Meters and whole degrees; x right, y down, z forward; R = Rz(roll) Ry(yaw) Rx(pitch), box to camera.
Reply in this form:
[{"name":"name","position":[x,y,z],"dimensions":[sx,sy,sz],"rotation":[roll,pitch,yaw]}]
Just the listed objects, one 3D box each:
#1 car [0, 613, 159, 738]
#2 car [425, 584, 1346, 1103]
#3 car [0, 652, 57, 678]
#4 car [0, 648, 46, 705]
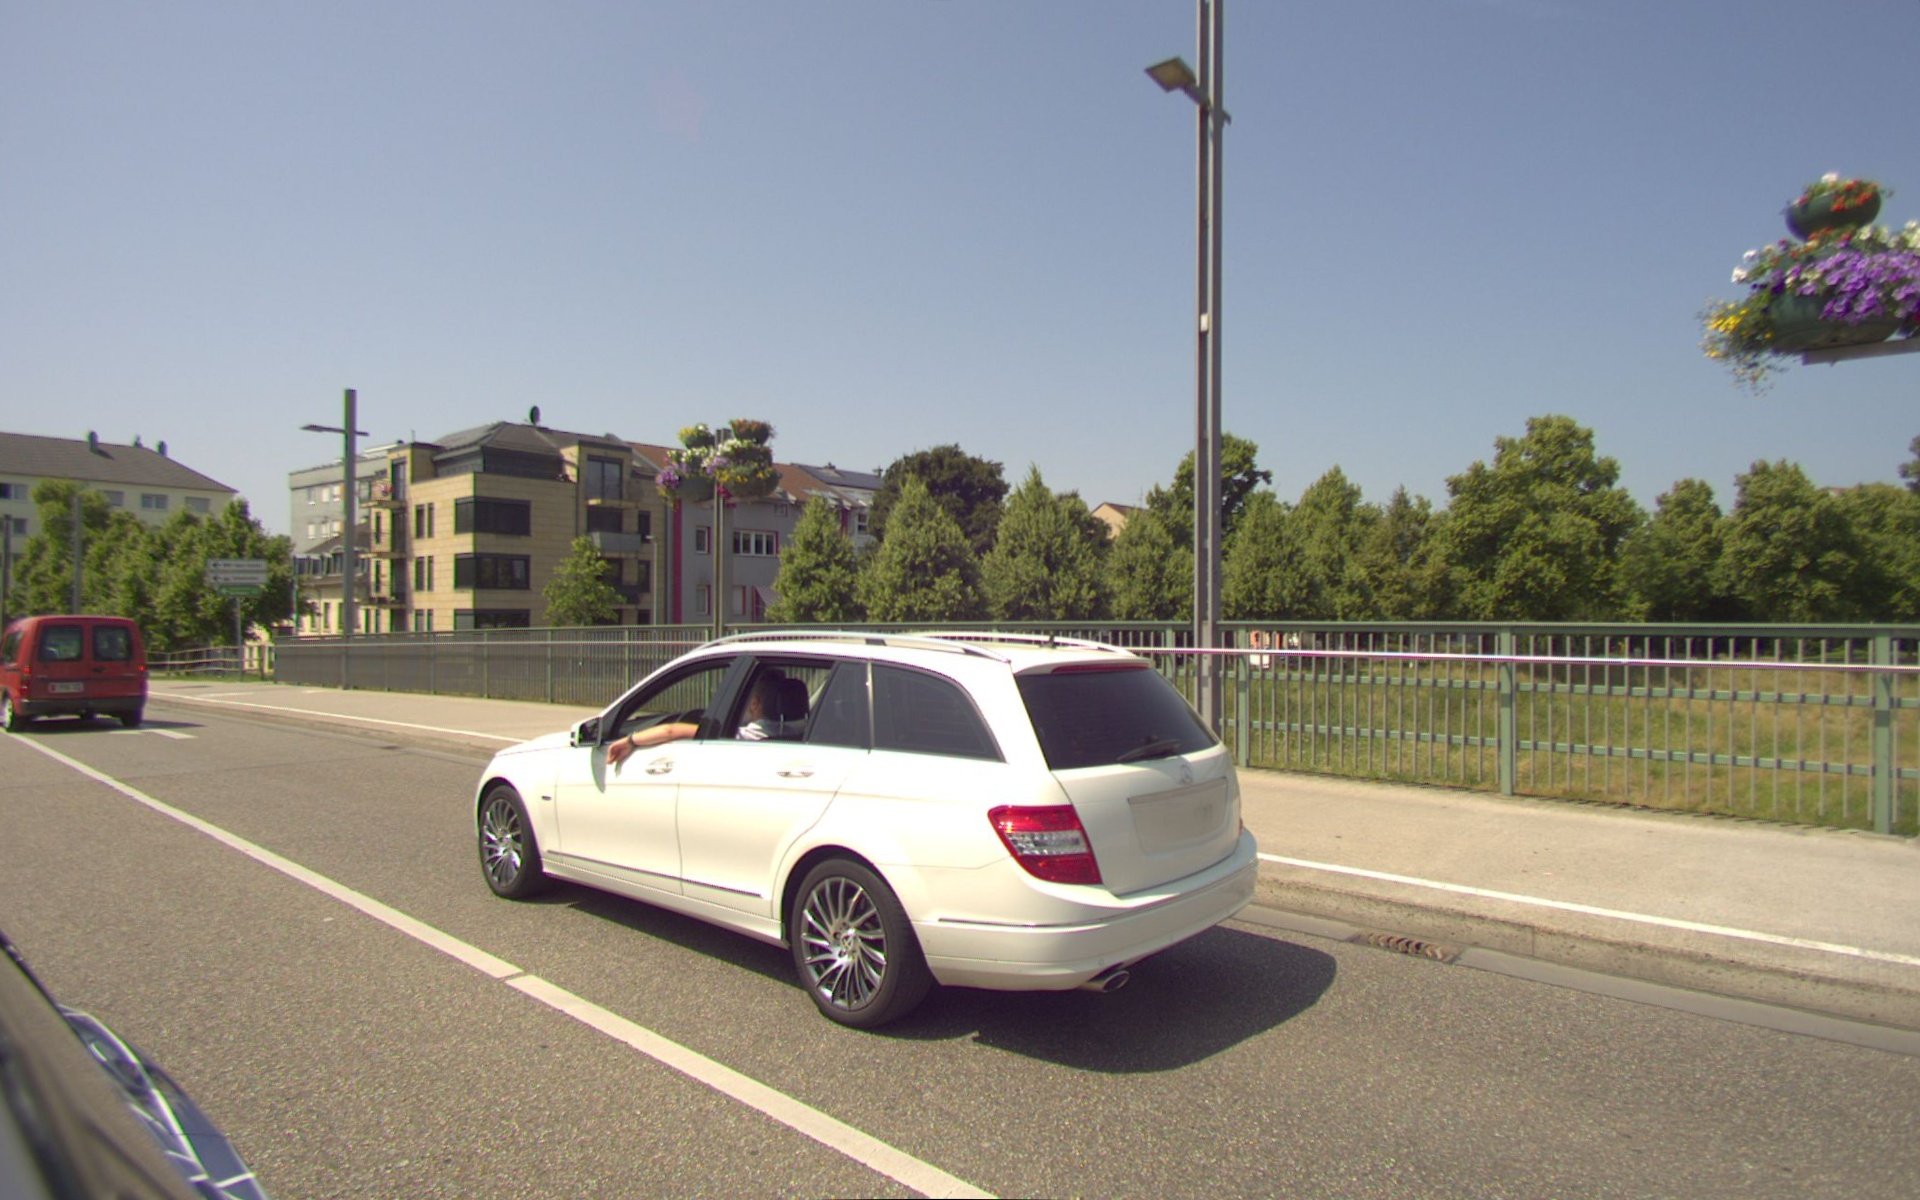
[{"name":"car","position":[-14.782,1.180,16.492],"dimensions":[4.169,1.790,1.720],"rotation":[-2,-3,37]},{"name":"car","position":[-0.757,0.837,5.105],"dimensions":[4.711,1.443,1.825],"rotation":[-3,-6,41]},{"name":"car","position":[-65.104,4.481,69.906],"dimensions":[1.887,1.748,3.658],"rotation":[-1,-3,31]},{"name":"car","position":[-24.739,1.920,25.682],"dimensions":[4.453,1.369,1.681],"rotation":[-3,-5,40]}]
